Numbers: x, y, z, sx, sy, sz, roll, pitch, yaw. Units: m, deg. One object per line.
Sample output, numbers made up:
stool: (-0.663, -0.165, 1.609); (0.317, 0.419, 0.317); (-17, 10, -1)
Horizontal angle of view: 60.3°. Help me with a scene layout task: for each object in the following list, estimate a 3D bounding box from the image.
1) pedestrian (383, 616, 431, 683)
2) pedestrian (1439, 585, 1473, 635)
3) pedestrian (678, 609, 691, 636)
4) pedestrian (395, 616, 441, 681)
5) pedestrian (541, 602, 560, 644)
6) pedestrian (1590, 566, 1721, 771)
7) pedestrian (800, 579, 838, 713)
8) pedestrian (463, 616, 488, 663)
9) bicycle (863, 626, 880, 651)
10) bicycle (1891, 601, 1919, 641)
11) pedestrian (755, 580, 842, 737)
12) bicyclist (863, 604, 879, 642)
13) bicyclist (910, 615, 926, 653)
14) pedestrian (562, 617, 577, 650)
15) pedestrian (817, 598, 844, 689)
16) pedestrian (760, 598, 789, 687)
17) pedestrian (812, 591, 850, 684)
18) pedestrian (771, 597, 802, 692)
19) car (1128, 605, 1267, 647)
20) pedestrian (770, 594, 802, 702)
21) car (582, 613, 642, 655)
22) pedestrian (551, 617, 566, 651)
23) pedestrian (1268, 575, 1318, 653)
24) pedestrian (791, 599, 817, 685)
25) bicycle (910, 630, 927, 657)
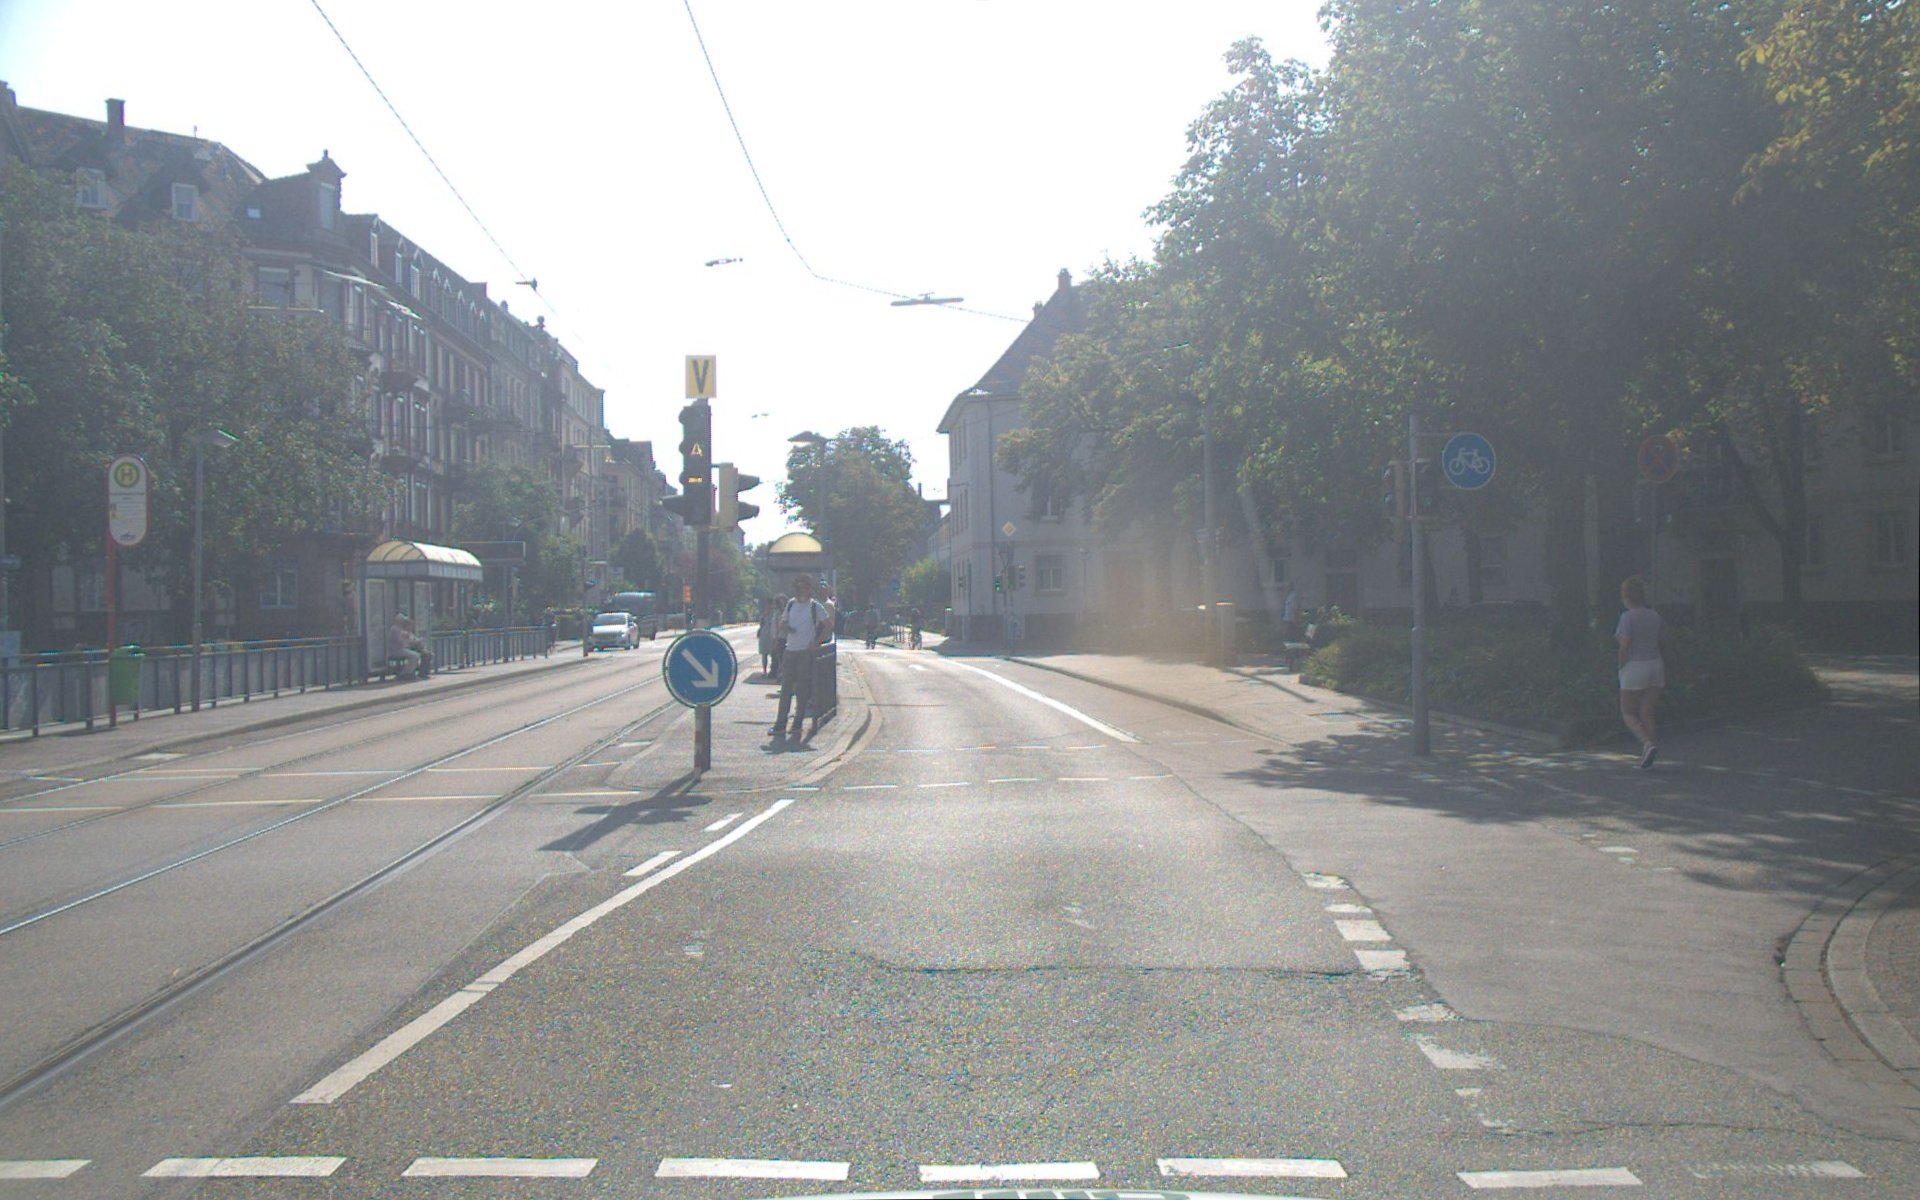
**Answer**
pedestrian: (-11.749, 1.045, 35.159); (0.812, 1.382, 0.774); (-1, -1, -9)
pedestrian: (17.948, 0.352, 59.829); (0.879, 1.771, 0.771); (-2, -1, 44)
pedestrian: (-17.957, 1.486, 107.899); (0.737, 1.761, 0.769); (-1, -1, -13)
pedestrian: (-11.839, 1.055, 36.131); (0.812, 1.382, 0.774); (-1, -1, -9)
pedestrian: (-17.278, 0.977, 69.835); (0.737, 1.761, 0.769); (-1, -1, -13)
pedestrian: (6.222, 0.596, 14.824); (0.737, 1.761, 0.769); (-1, -1, -13)
pedestrian: (-1.997, 0.641, 23.464); (0.494, 1.866, 0.533); (1, 2, -4)
pedestrian: (-18.506, 1.490, 63.201); (0.735, 1.761, 0.771); (-1, -1, -2)
bicycle: (-3.704, 1.606, 68.868); (0.616, 0.995, 1.768); (-1, 0, -5)
bicycle: (24.394, 0.523, 42.032); (0.416, 0.995, 1.553); (-1, 0, -7)
pedestrian: (-1.871, 0.655, 19.199); (0.686, 1.755, 0.747); (2, 2, 29)
bicyclist: (-3.713, 0.947, 68.872); (0.617, 1.534, 0.678); (-1, 0, -6)
bicyclist: (-1.663, 1.334, 65.260); (0.547, 1.441, 0.870); (-1, 0, -6)
pedestrian: (-21.154, 1.804, 89.591); (0.737, 1.761, 0.769); (-1, -1, -13)
pedestrian: (-2.579, 0.861, 32.955); (0.494, 1.790, 0.533); (1, 2, -4)
pedestrian: (-3.851, 0.873, 34.289); (0.521, 1.790, 0.544); (1, 2, -3)
pedestrian: (-2.528, 0.727, 32.341); (0.695, 1.790, 0.533); (1, 2, -4)
pedestrian: (-3.359, 0.858, 32.093); (0.532, 1.790, 0.533); (1, 2, -4)
car: (8.108, 0.905, 56.557); (4.248, 1.343, 1.993); (-2, -1, 35)
pedestrian: (-2.953, 0.813, 28.106); (0.494, 1.790, 0.533); (1, 2, -4)
car: (-14.728, 1.419, 70.137); (1.765, 1.682, 3.642); (-1, 0, 0)
pedestrian: (-21.099, 1.781, 86.989); (0.737, 1.761, 0.769); (-1, -1, -13)
pedestrian: (7.691, 0.329, 38.231); (0.875, 1.771, 0.774); (-2, -1, 33)
pedestrian: (-3.291, 0.881, 34.909); (0.494, 1.790, 0.533); (1, 2, -4)
bicycle: (-1.647, 1.708, 65.244); (0.547, 0.995, 1.854); (-1, 0, -5)
